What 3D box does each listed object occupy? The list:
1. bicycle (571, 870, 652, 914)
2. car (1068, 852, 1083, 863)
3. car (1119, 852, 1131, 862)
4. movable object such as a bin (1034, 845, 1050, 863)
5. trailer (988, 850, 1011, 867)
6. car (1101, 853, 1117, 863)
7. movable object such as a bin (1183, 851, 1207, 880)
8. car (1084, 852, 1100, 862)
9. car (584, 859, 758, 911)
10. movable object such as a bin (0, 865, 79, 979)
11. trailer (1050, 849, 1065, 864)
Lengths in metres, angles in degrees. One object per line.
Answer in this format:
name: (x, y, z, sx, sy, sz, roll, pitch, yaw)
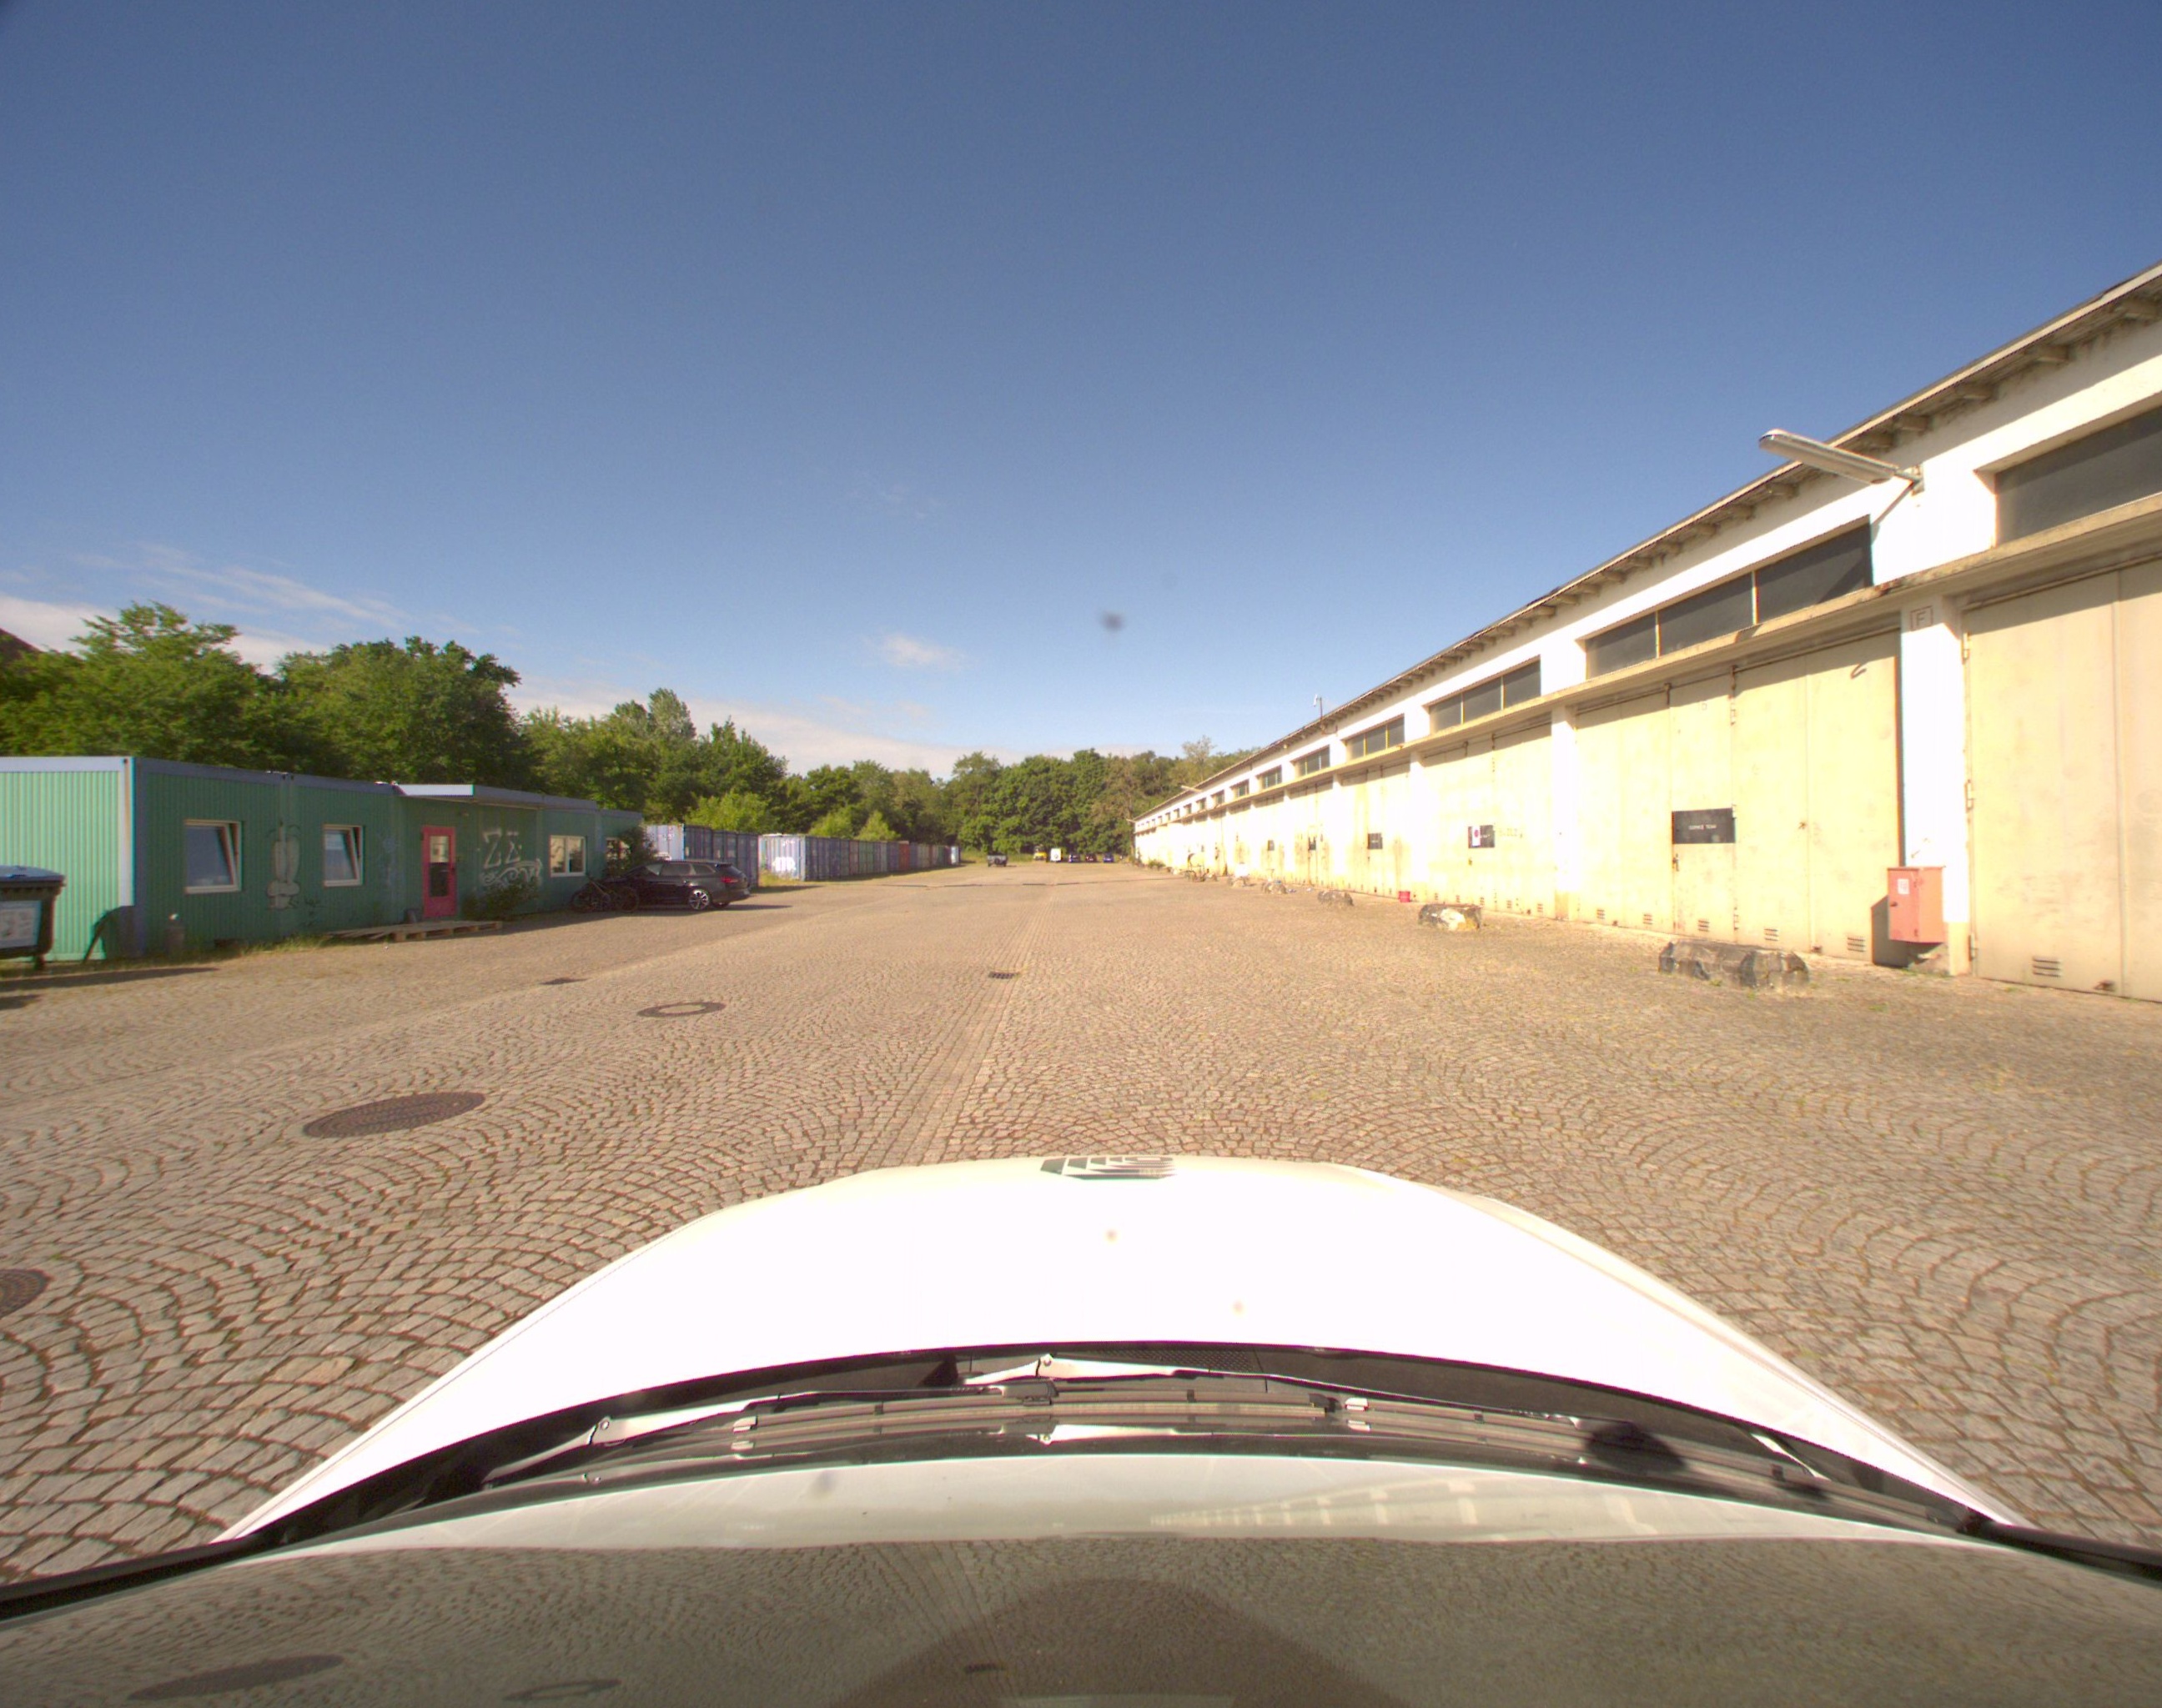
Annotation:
bicycle: (-12.400, 0.994, 21.539, 1.703, 1.101, 0.673, 1, 0, -2)
car: (-0.798, 0.490, 121.380, 1.852, 1.585, 4.007, -1, 0, 6)
car: (6.665, 0.443, 123.136, 1.677, 1.563, 4.007, -1, 0, 6)
movable object such as a bin: (-5.939, 0.023, 123.213, 1.985, 2.618, 4.003, 1, 0, 3)
trailer: (-10.384, 0.588, 103.676, 2.398, 2.013, 4.174, 1, 0, 1)
car: (4.227, 0.589, 121.712, 1.983, 1.420, 4.007, -1, 0, 6)
movable object such as a bin: (5.336, 0.518, 38.151, 0.822, 1.331, 1.278, -1, 0, -6)
car: (1.600, 0.499, 121.640, 1.983, 1.462, 4.007, -1, 0, 6)
car: (-11.566, 0.858, 23.237, 4.045, 1.413, 1.727, 0, -1, -7)
movable object such as a bin: (-14.399, 0.880, 10.588, 1.086, 1.437, 1.402, -1, 0, -13)
trailer: (-3.540, 0.390, 123.001, 1.786, 2.090, 3.975, -1, 0, 3)
